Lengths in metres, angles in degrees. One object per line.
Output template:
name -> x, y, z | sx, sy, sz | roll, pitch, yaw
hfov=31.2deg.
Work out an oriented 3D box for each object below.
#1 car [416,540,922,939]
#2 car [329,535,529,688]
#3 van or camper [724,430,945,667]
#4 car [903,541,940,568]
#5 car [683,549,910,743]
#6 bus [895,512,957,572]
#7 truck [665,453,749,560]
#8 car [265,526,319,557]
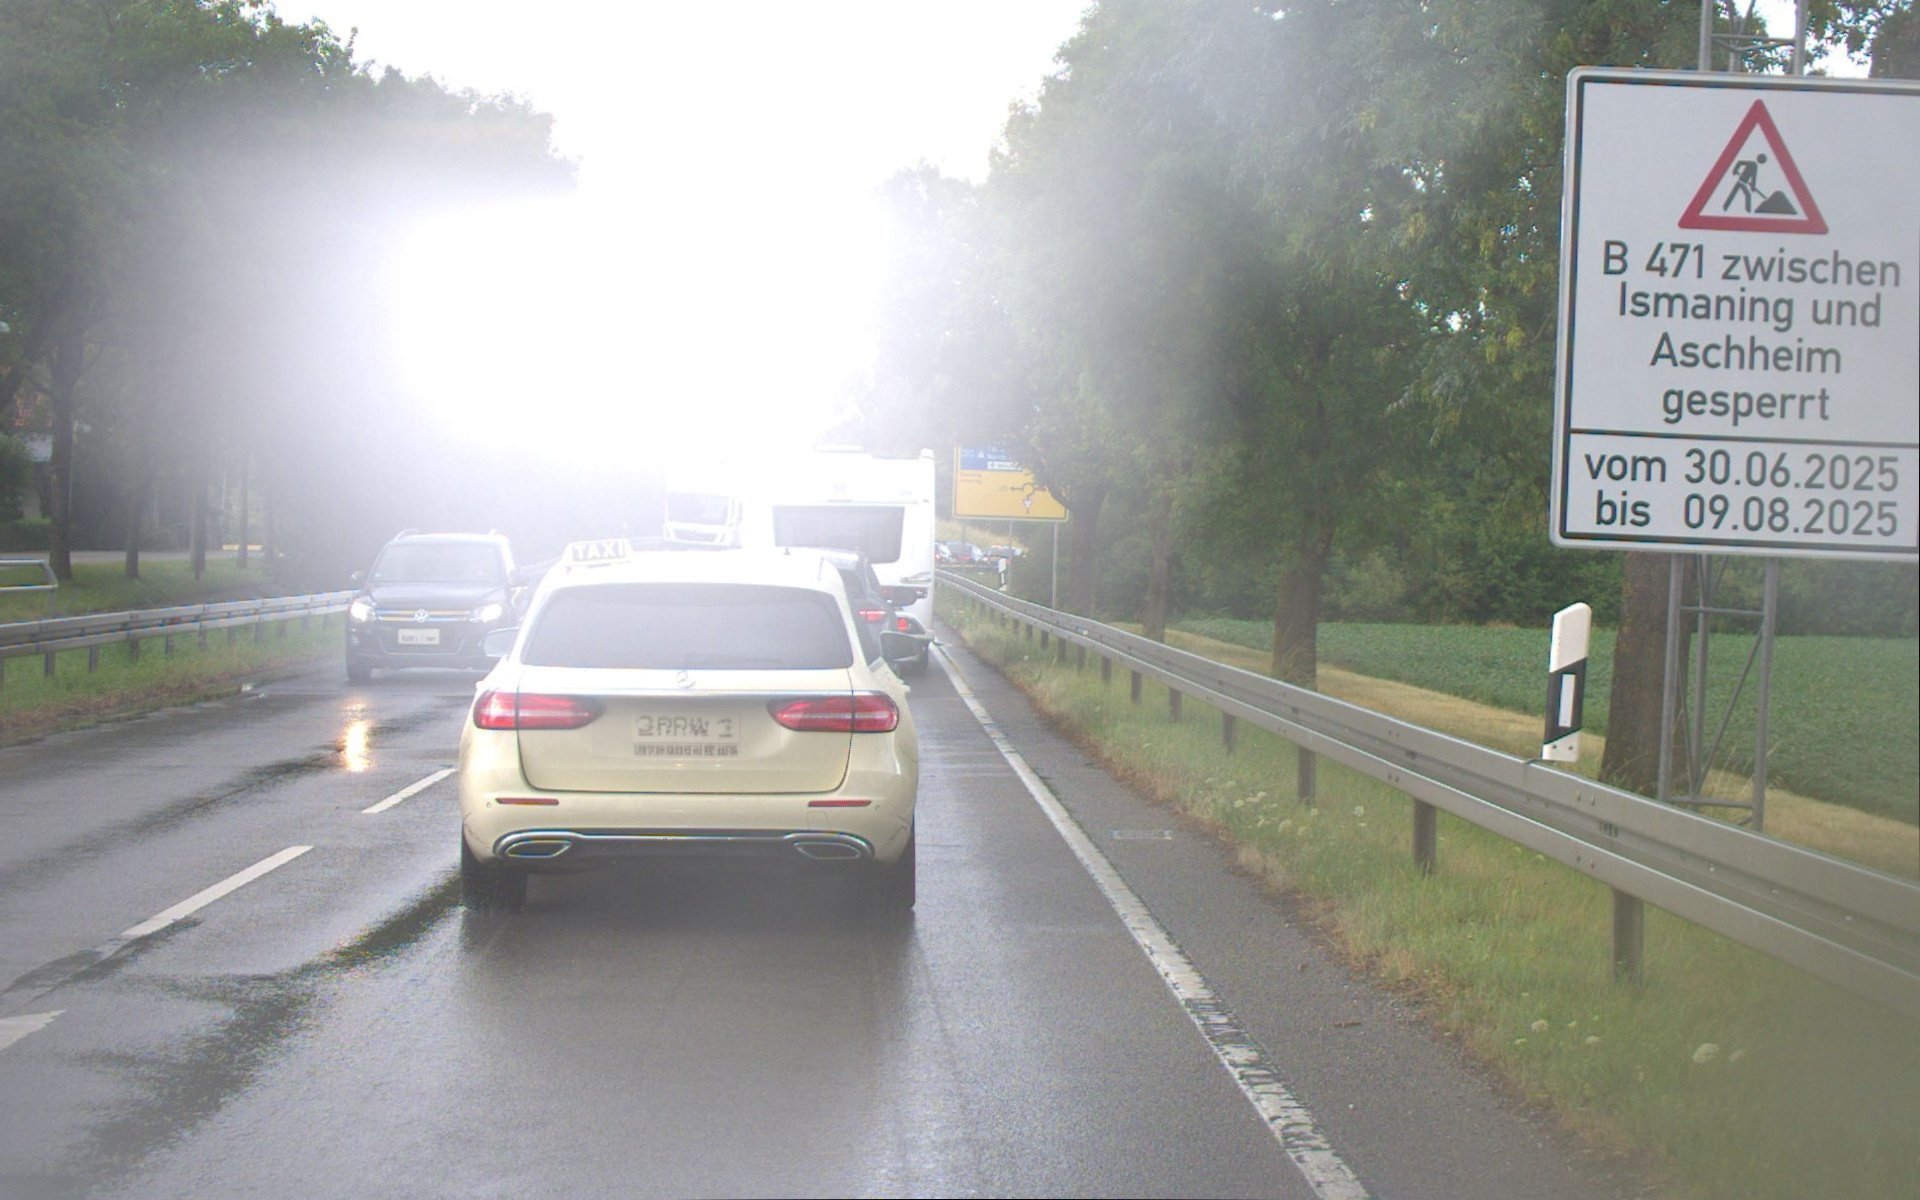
car -> -1.105, 0.486, 14.809 | 1.865, 1.471, 4.000 | 0, 1, 0
car -> -5.872, 0.084, 38.396 | 1.764, 1.614, 4.001 | 0, 1, -2
van or camper -> -1.465, -0.640, 42.405 | 2.489, 2.676, 5.701 | 1, 1, 0
car -> -1.661, -1.943, 146.984 | 1.551, 1.114, 4.000 | 1, 1, -1
car -> -1.254, 0.315, 27.699 | 1.664, 1.426, 4.000 | 0, 1, 0
bus -> -1.176, -1.983, 117.103 | 1.993, 2.007, 4.001 | 0, 1, -2
truck -> -8.491, -3.126, 116.039 | 2.576, 3.440, 9.557 | 0, 1, -3
car -> -32.076, -2.808, 165.228 | 1.785, 1.411, 4.000 | 2, 1, 0
